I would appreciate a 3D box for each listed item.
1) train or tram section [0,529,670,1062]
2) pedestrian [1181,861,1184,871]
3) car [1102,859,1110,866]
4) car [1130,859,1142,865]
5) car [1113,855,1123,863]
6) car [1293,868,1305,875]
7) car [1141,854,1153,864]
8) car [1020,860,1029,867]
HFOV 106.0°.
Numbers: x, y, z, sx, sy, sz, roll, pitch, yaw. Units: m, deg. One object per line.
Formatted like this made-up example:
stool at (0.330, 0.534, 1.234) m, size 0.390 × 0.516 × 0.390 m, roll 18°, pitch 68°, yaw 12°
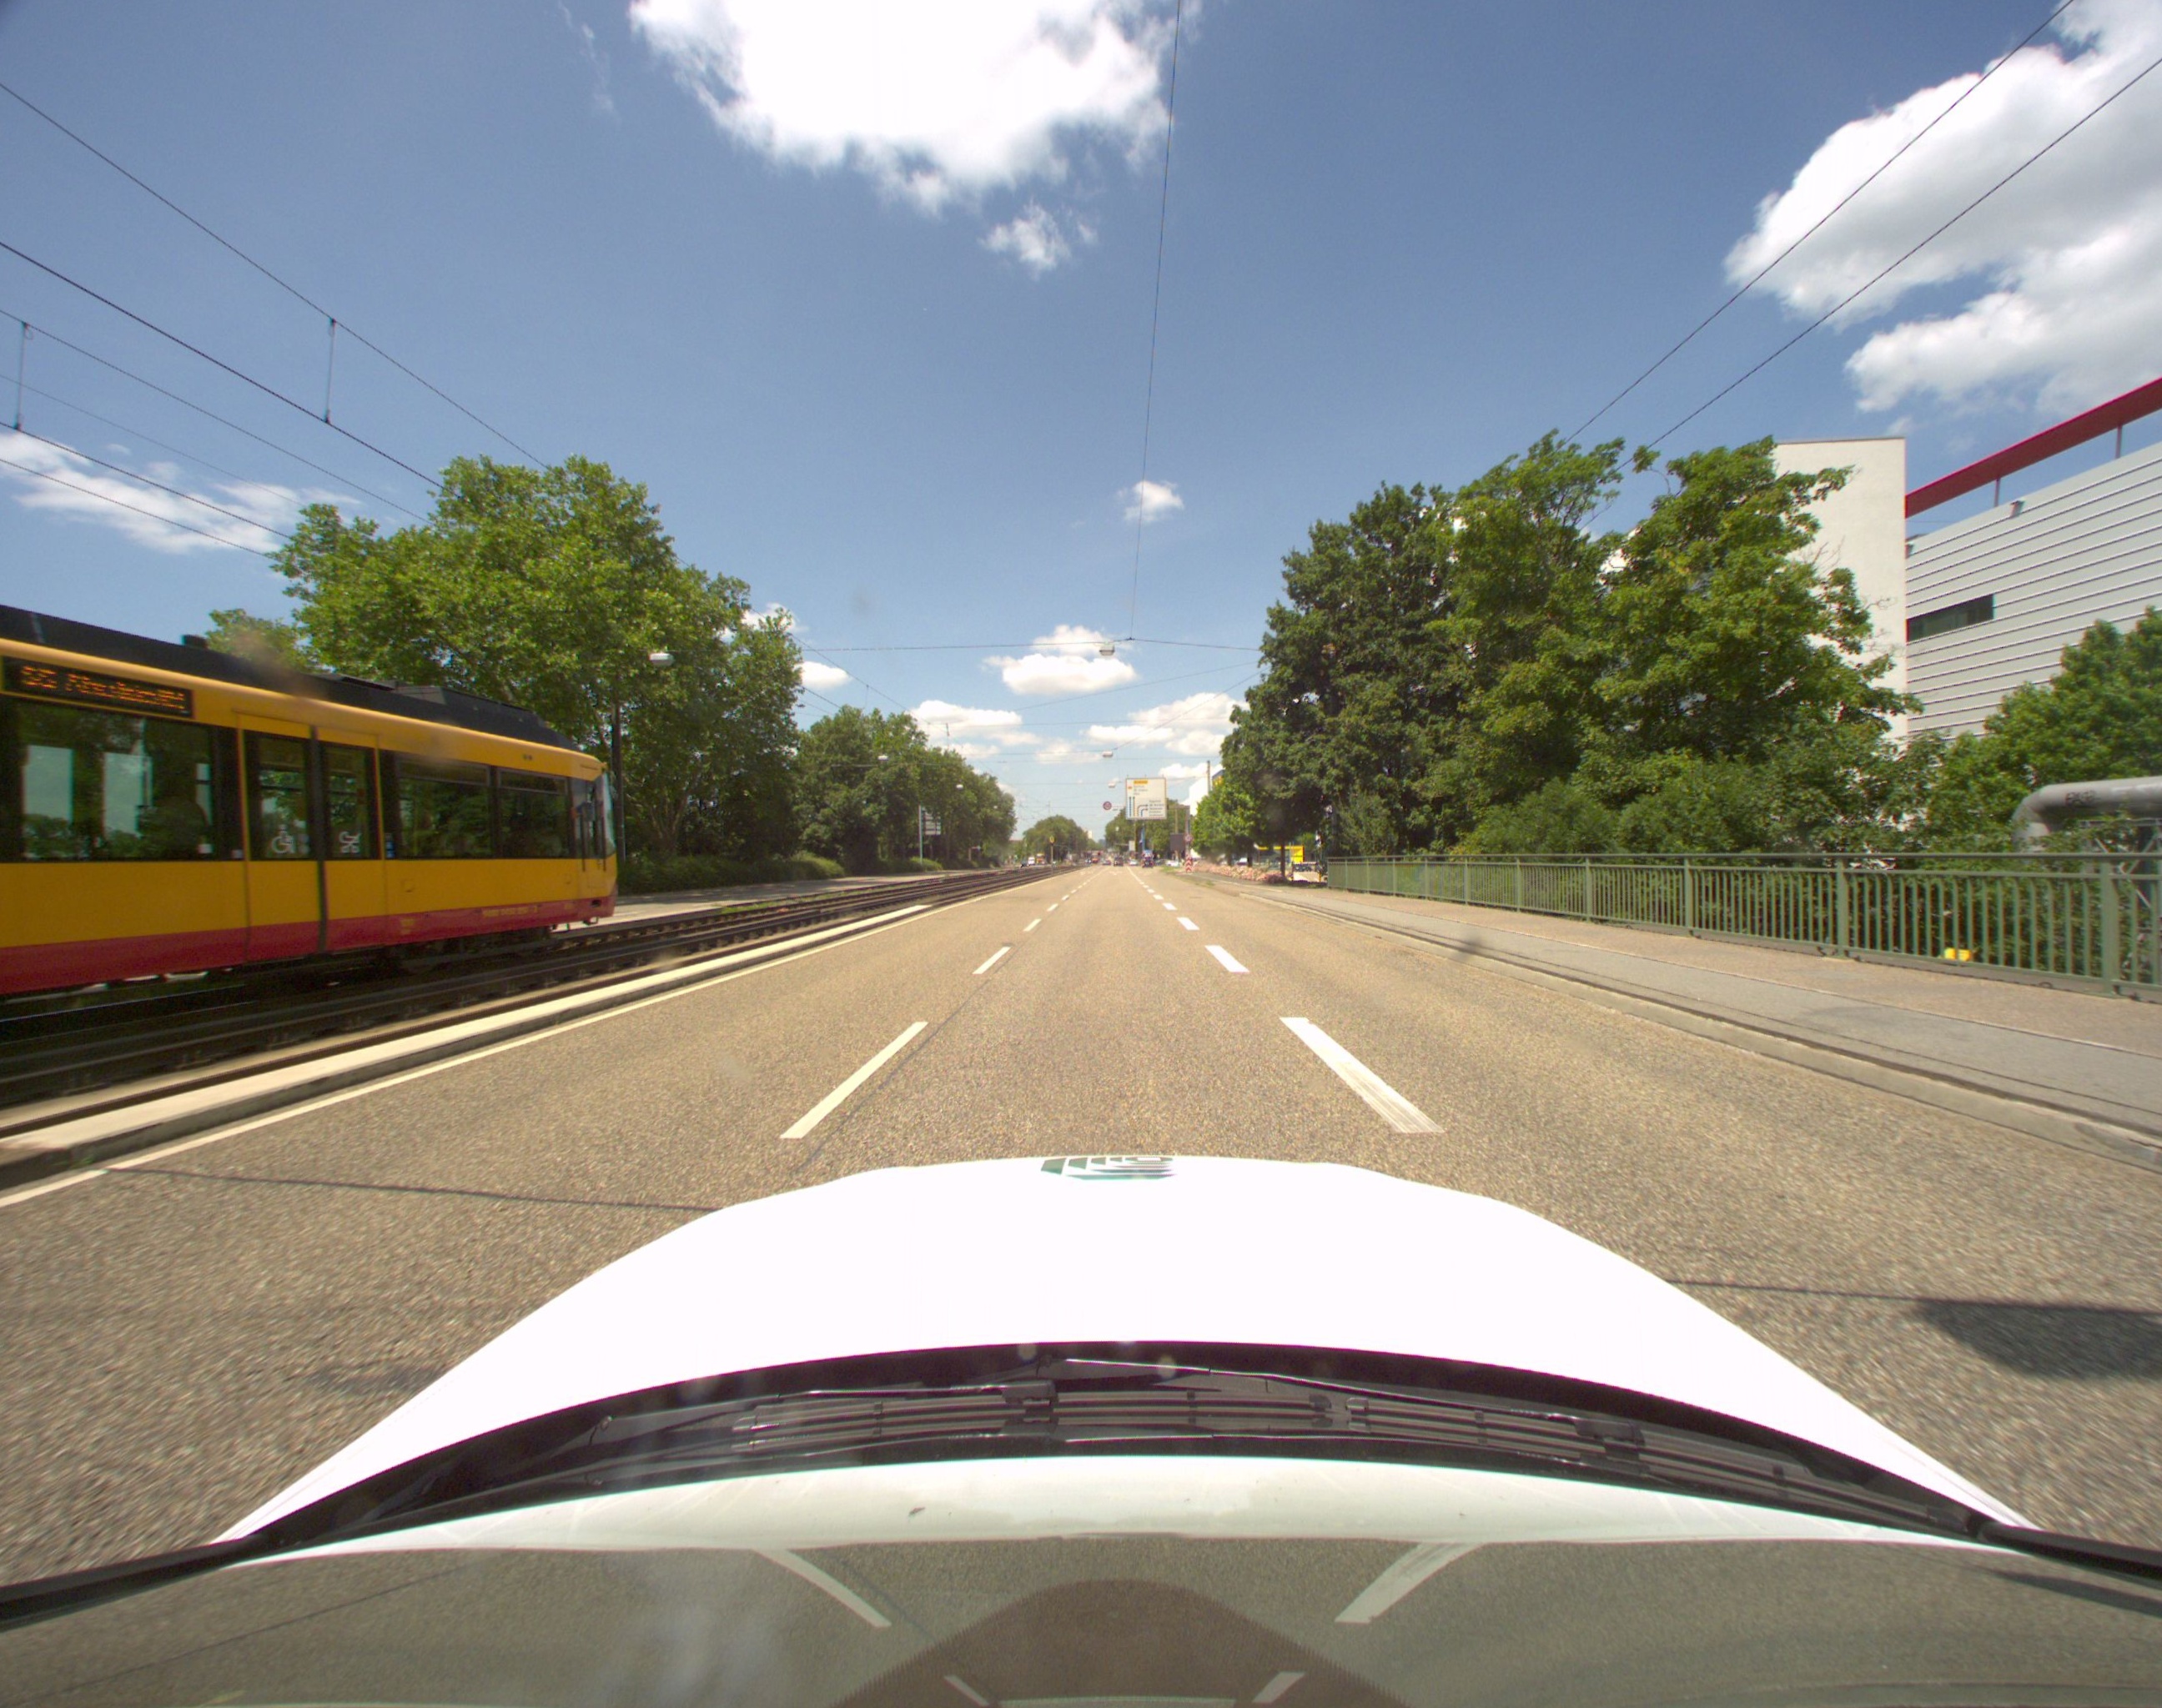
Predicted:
train or tram section at (-9.811, -0.429, 8.988) m, size 3.026 × 4.140 × 13.987 m, roll -1°, pitch 0°, yaw 2°
pedestrian at (19.555, 2.333, 156.472) m, size 0.578 × 1.792 × 0.590 m, roll 1°, pitch -1°, yaw 0°
car at (6.163, 2.070, 199.452) m, size 1.836 × 1.550 × 3.776 m, roll 1°, pitch 0°, yaw 0°
car at (13.370, 1.965, 198.561) m, size 1.670 × 1.550 × 4.006 m, roll 1°, pitch 0°, yaw 25°
car at (7.622, 0.994, 166.924) m, size 1.869 × 1.539 × 3.778 m, roll 1°, pitch 0°, yaw 2°
car at (44.336, 3.533, 165.782) m, size 1.565 × 1.483 × 3.889 m, roll 1°, pitch 0°, yaw 1°
car at (11.284, 0.850, 139.374) m, size 1.892 × 1.805 × 3.978 m, roll 1°, pitch 0°, yaw 2°
car at (-12.623, 2.162, 182.098) m, size 1.639 × 1.550 × 4.216 m, roll 1°, pitch 0°, yaw 1°
